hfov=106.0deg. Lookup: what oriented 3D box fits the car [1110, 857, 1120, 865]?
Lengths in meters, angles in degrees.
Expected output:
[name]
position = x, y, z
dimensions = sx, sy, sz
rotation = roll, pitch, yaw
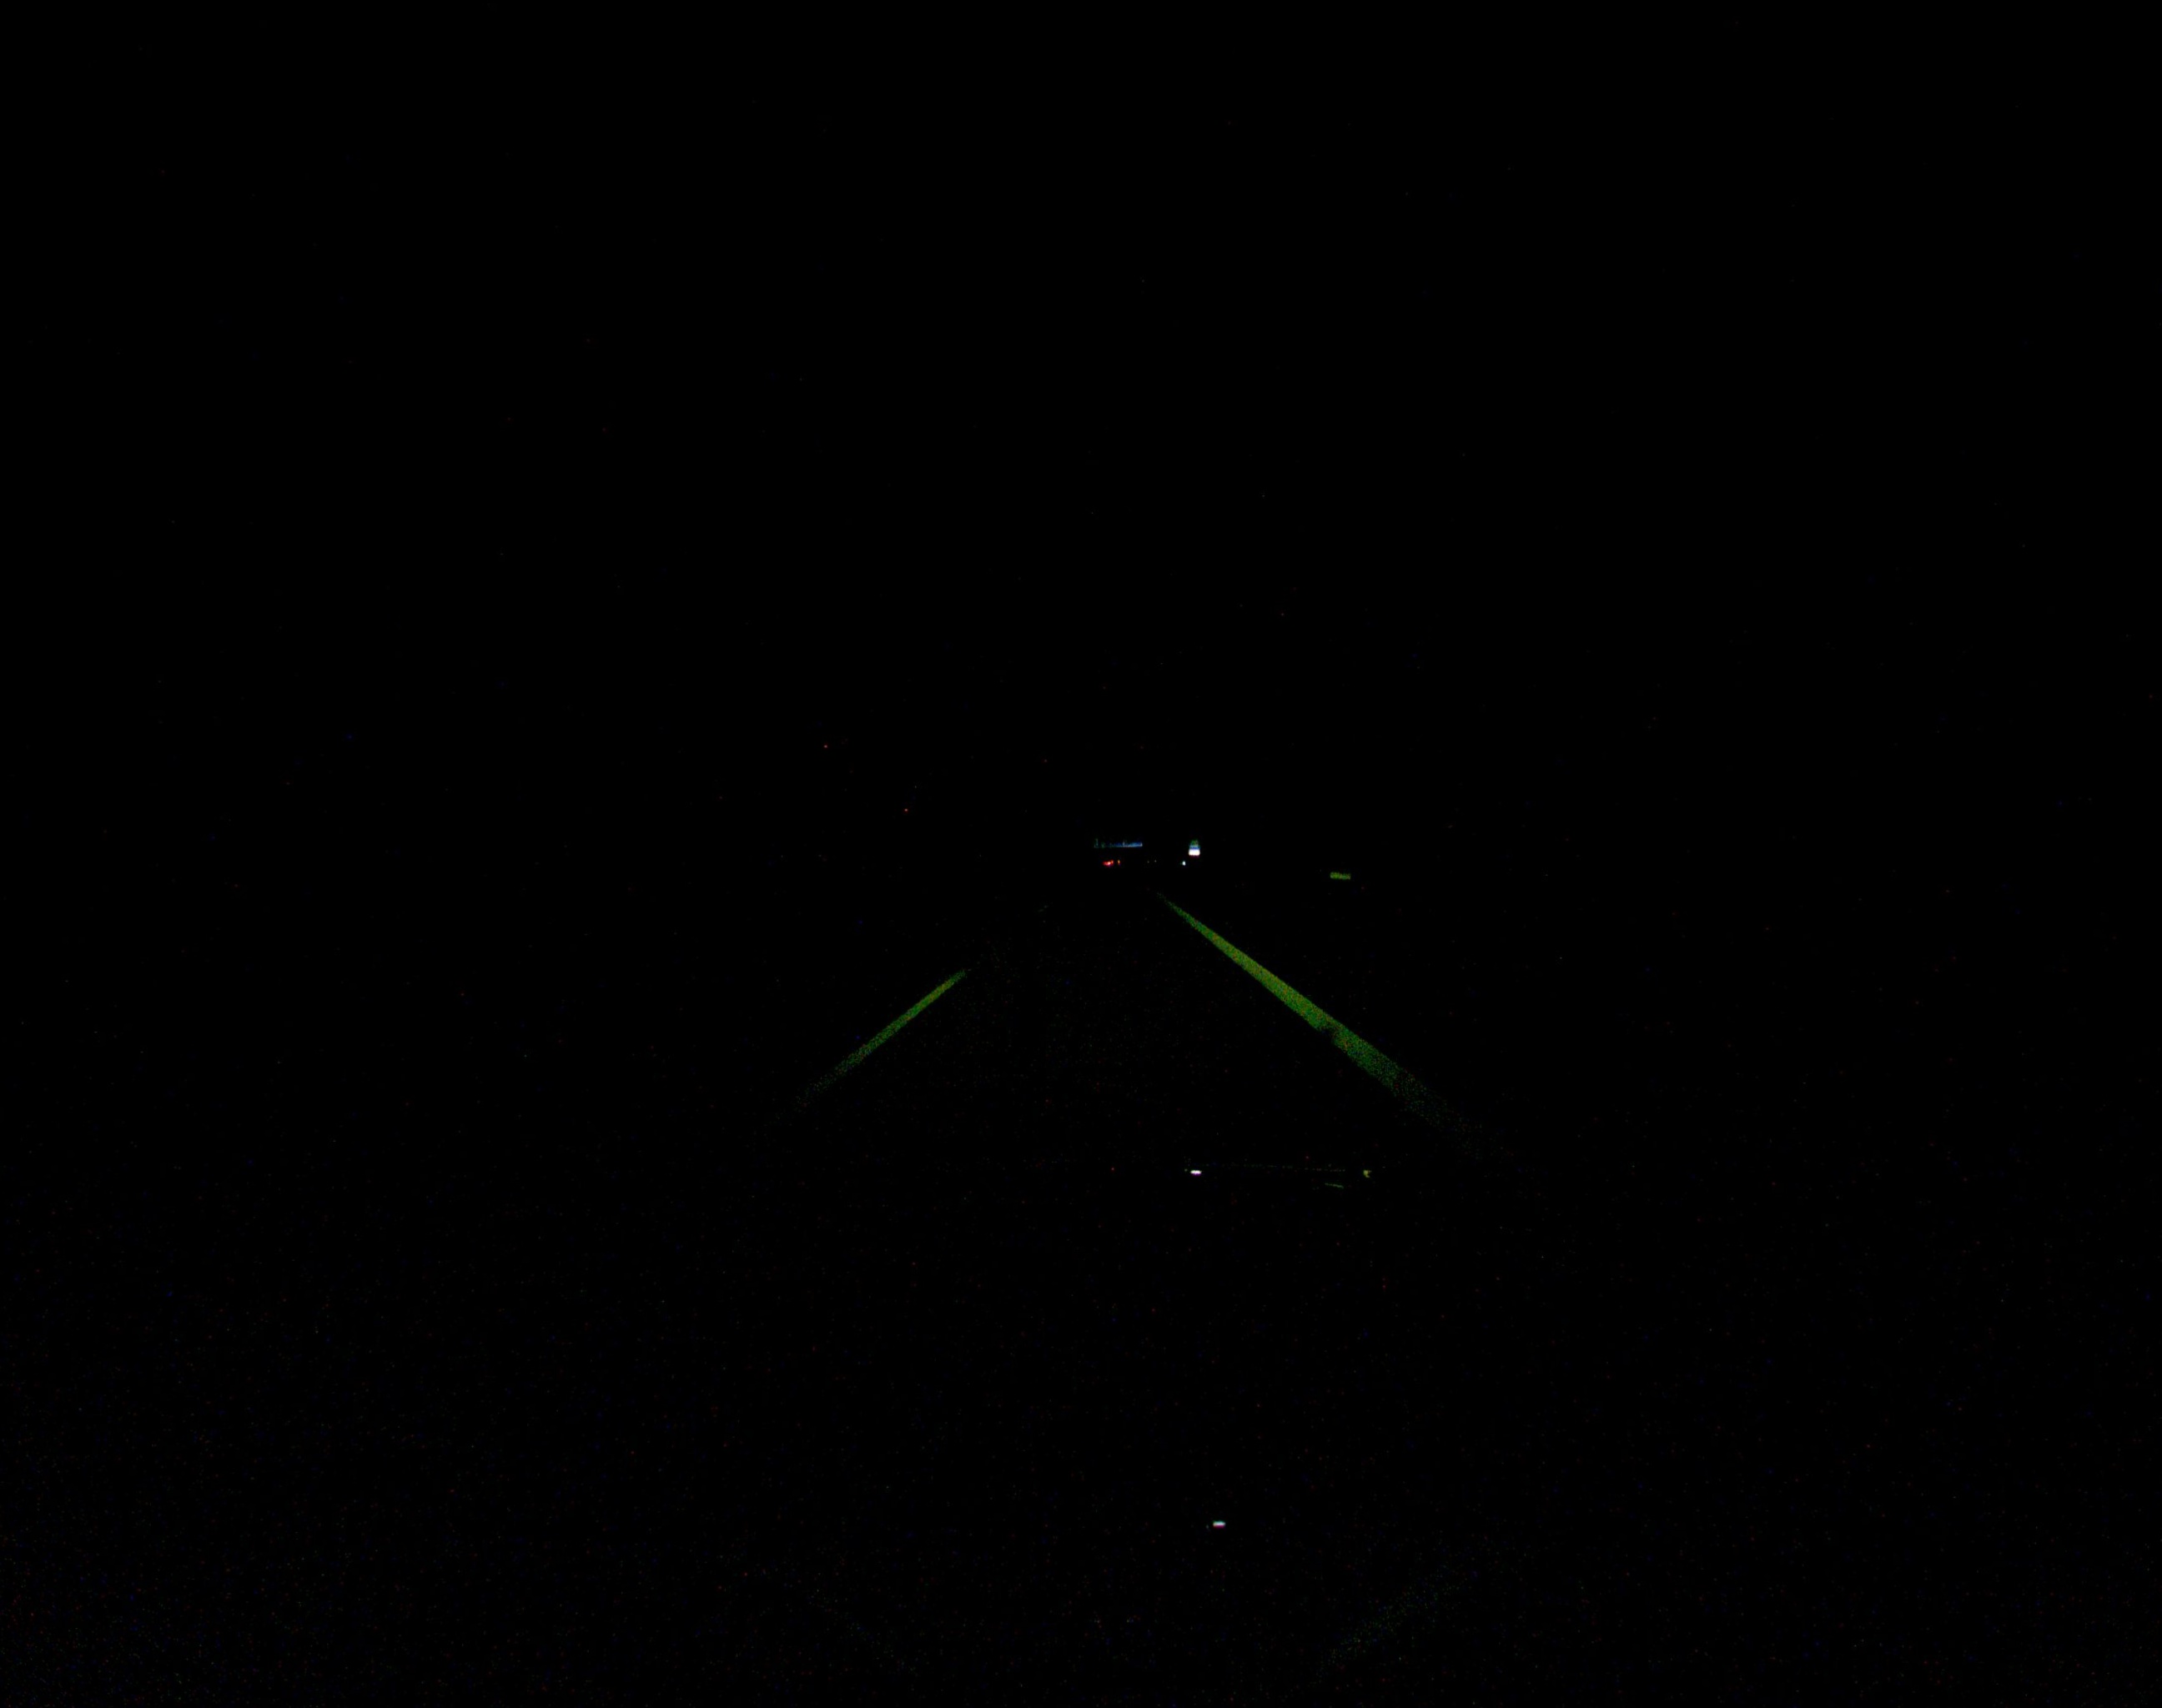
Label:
[car]
position = 10.336, 2.074, 245.118
dimensions = 2.498, 2.314, 4.979
rotation = -1, -1, 6
